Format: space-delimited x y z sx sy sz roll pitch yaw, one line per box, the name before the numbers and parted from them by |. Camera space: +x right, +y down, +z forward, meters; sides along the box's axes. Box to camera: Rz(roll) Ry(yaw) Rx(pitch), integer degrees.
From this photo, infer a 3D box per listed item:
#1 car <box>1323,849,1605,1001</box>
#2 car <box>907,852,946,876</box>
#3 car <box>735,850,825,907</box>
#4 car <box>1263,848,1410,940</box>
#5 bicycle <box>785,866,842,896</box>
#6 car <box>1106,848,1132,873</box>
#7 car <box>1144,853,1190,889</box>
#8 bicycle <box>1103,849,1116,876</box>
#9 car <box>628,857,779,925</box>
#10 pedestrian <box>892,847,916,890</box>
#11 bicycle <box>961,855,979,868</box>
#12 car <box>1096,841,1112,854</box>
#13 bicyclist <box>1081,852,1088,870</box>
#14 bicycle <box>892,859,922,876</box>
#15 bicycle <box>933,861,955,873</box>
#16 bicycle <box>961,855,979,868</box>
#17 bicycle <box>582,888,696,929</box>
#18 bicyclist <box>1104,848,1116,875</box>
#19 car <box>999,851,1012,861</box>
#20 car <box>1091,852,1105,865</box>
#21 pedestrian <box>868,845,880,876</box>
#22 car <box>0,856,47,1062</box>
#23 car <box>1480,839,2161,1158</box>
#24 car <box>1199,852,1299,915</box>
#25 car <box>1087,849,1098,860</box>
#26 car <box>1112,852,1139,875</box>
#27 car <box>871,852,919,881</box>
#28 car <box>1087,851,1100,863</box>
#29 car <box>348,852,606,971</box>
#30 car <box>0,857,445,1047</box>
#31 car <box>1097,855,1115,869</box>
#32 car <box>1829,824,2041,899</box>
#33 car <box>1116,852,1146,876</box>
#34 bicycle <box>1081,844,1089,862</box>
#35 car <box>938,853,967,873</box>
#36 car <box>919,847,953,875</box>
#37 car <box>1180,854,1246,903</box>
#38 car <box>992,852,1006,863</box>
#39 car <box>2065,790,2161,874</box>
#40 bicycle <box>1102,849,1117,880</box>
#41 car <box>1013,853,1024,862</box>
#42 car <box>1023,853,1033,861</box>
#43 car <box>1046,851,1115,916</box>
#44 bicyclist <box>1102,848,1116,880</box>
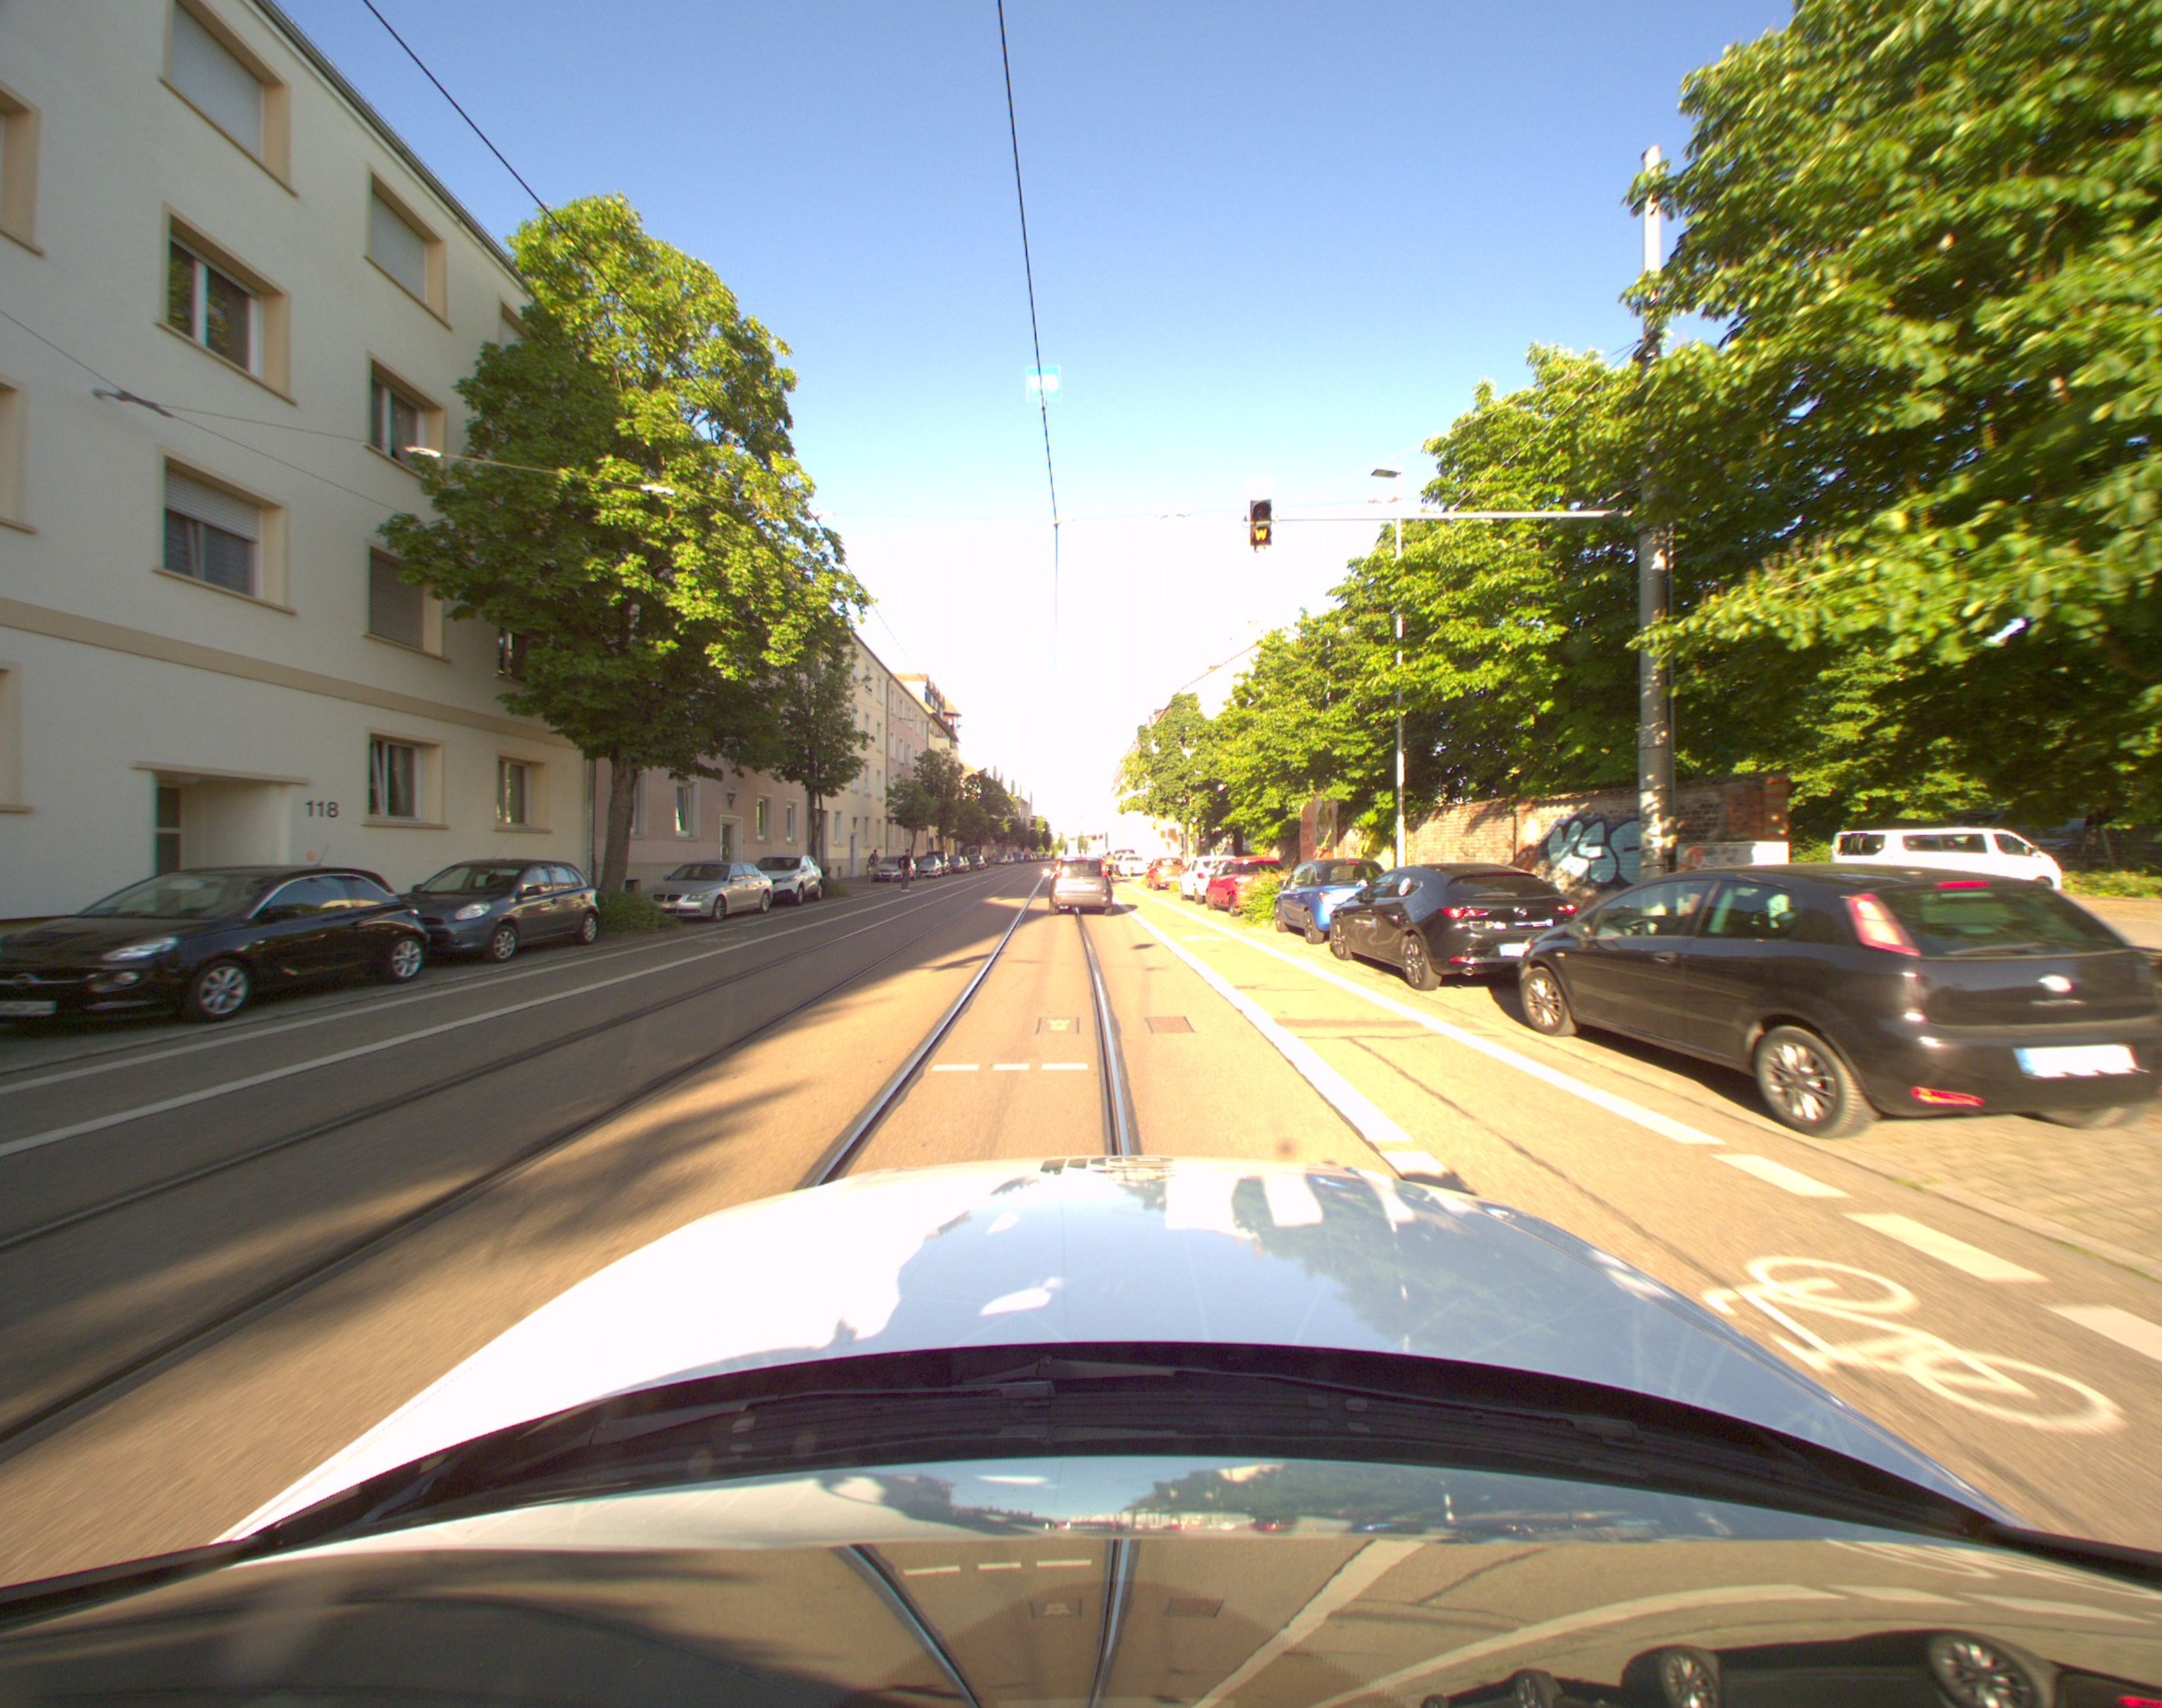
car | 4.593 0.732 10.567 1.682 1.530 4.357 -1 0 2
car | -10.230 0.653 54.272 1.804 1.508 4.677 1 0 -2
car | -9.637 0.730 26.383 1.649 1.668 4.287 1 0 -6
car | 4.784 0.680 15.834 1.682 1.530 4.001 -1 0 2
bicycle | -9.922 1.003 30.245 1.919 1.046 0.476 1 0 -1
car | 3.020 0.498 65.728 1.651 1.944 4.660 1 0 -2
car | 3.938 0.753 37.637 1.631 1.508 3.395 -2 0 -2
bicycle | 1.891 0.555 53.784 0.673 1.747 2.156 1 0 -2
car | -9.433 0.852 20.833 1.683 1.475 4.659 1 0 0
pedestrian | -7.384 0.597 34.011 0.853 1.776 0.730 -1 1 -22
bicycle | -10.965 0.726 80.263 1.726 1.196 0.372 1 0 -6
car | 2.546 -0.752 91.854 1.579 1.405 3.373 1 0 -3
bicyclist | 0.423 0.790 94.720 0.713 2.013 0.831 1 0 -3
bicycle | -10.605 0.847 49.633 1.660 1.001 0.476 1 0 1
bicycle | -10.723 1.003 63.730 1.629 0.937 0.516 1 0 -6
bicycle | -10.903 0.718 79.870 1.726 1.196 0.372 1 0 -6
bicycle | -9.467 1.161 17.491 2.122 0.824 0.477 1 0 -3
bicyclist | 1.892 0.488 53.748 0.697 1.759 0.757 1 0 -3
car | -12.183 0.277 131.889 1.702 1.496 3.720 1 0 -1
car | 2.138 0.612 105.100 1.579 1.599 3.373 1 0 -3
pedestrian | -12.160 0.392 47.825 0.535 1.826 0.542 1 0 -2
car | -8.943 0.765 4.321 1.682 1.530 4.002 2 0 2
car | 4.722 0.707 5.989 1.682 1.530 4.001 -1 0 2
car | 4.530 0.747 22.520 1.686 1.530 3.994 -1 0 -4
car | 1.840 0.088 131.497 1.579 1.599 3.373 1 0 -3
car | 3.253 0.692 59.993 1.651 1.571 3.873 1 0 -2
car | -10.302 0.657 45.322 1.804 1.508 4.188 1 0 -2
car | 1.780 0.405 112.722 1.579 1.599 3.373 1 0 -3
car | -9.303 0.789 12.961 1.589 1.614 3.723 1 0 -6
car | -9.114 0.827 8.676 1.783 1.530 3.852 2 0 -4
car | 2.594 0.824 86.146 1.579 1.405 3.373 -3 0 -3
car | 22.698 0.193 21.735 3.898 1.861 1.806 1 0 -3
car | 3.394 0.647 55.894 1.651 1.571 3.496 1 0 -2
bicycle | 0.450 -0.084 94.581 0.740 2.013 2.809 1 0 -2
car | -10.588 0.708 67.265 1.804 1.619 4.061 1 0 -2
car | -10.581 0.491 59.811 1.804 1.943 4.331 1 0 -2
car | 4.431 0.781 27.846 1.682 1.530 4.001 -1 0 2
car | -11.849 0.520 117.490 1.702 1.496 3.720 1 0 -1
car | 31.044 -0.614 23.006 4.179 2.241 2.140 0 0 -4
bicycle | 1.602 0.587 46.495 0.673 1.747 2.156 1 0 -2
car | -11.170 0.619 146.139 1.702 1.496 3.720 1 0 -1
car | -10.571 0.560 161.724 1.702 1.496 3.720 1 0 -1
car | -0.045 0.709 21.917 1.645 1.541 4.233 1 0 -1
bicyclist | 1.598 0.565 46.369 0.697 1.759 0.757 1 0 -3
